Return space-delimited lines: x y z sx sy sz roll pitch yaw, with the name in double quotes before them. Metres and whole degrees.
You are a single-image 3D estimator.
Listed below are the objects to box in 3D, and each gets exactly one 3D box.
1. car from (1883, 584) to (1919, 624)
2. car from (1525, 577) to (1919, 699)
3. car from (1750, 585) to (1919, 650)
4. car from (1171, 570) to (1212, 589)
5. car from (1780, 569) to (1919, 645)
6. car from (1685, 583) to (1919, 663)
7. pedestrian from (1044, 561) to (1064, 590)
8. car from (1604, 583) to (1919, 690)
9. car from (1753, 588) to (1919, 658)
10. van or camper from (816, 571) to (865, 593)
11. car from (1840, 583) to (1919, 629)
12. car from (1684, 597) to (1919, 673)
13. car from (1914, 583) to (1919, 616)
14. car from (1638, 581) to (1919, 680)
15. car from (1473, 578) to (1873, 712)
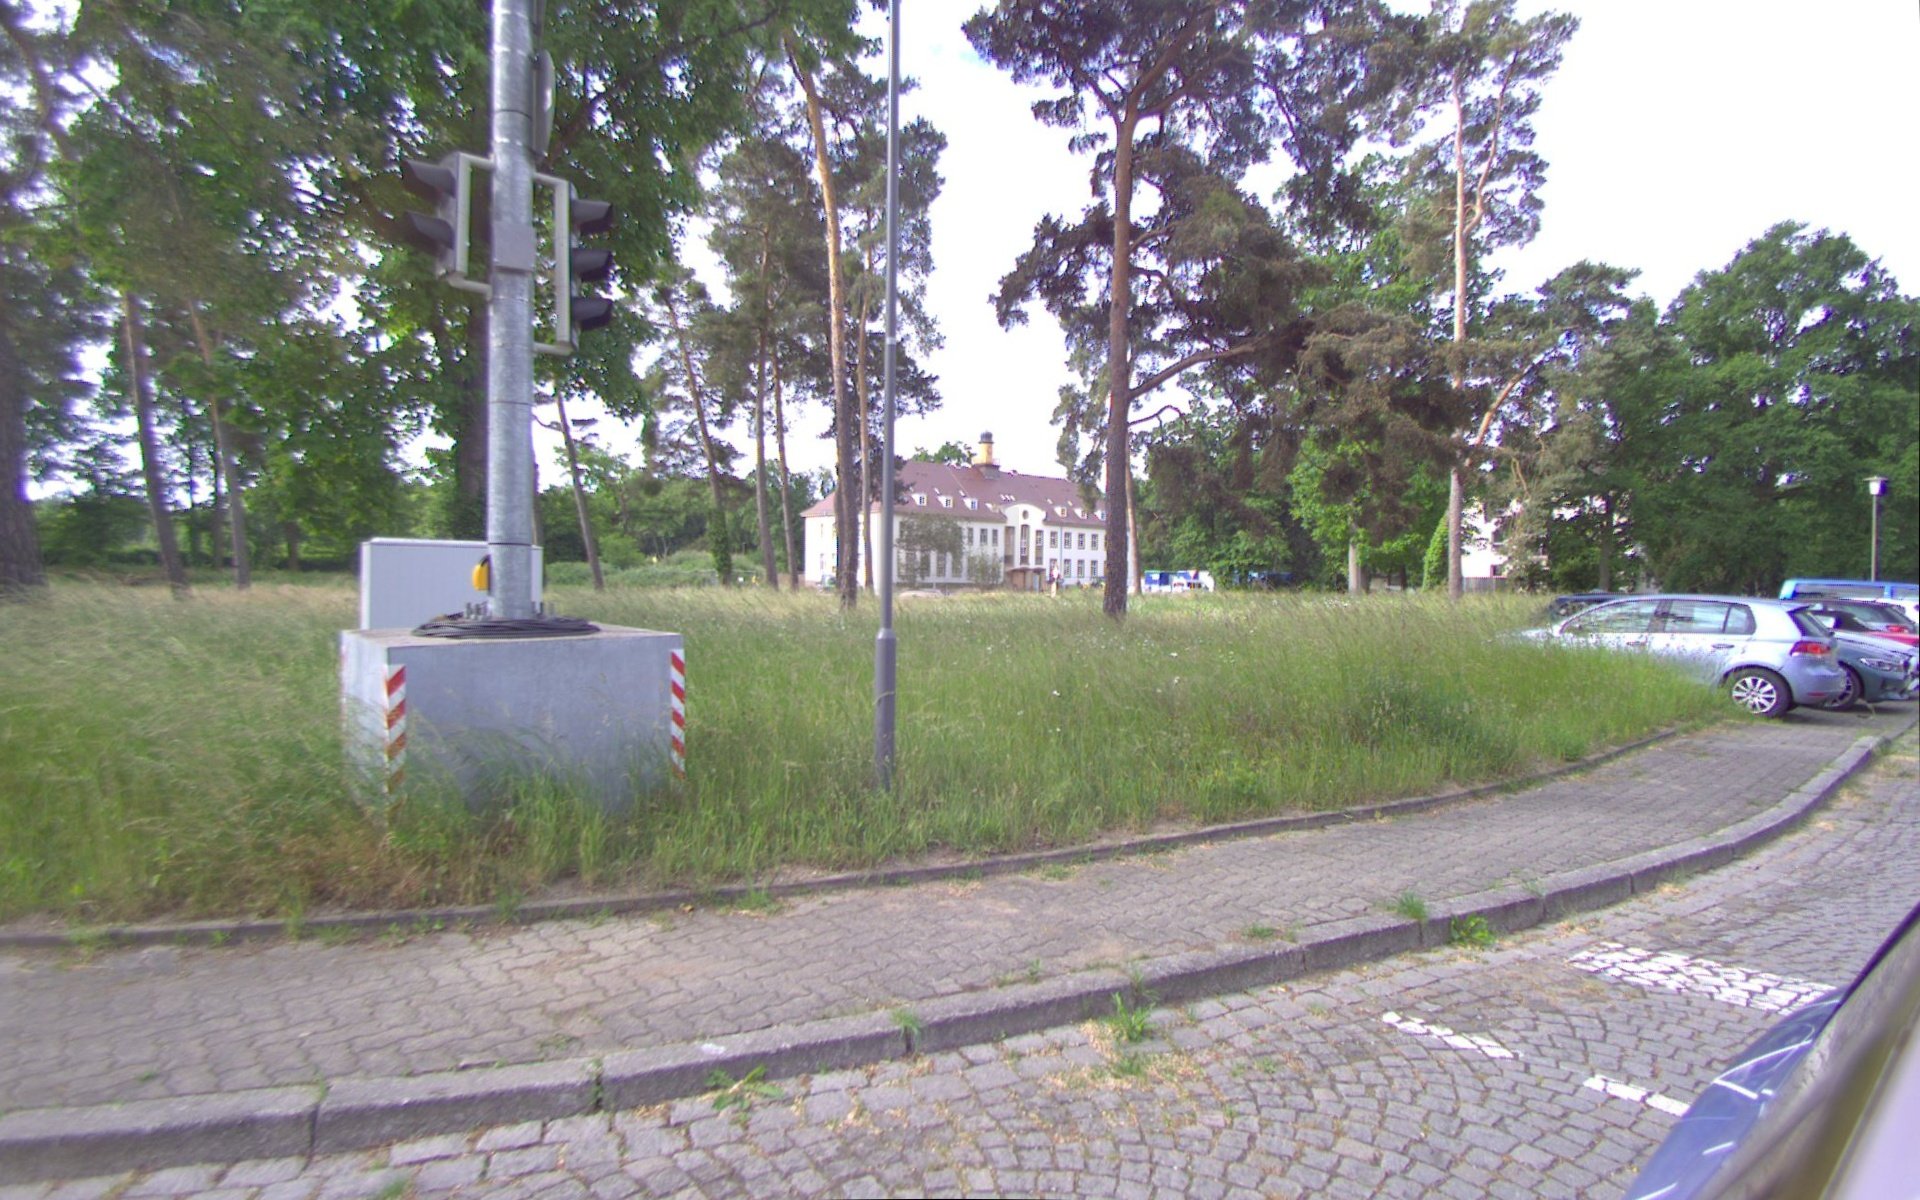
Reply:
"car" 40.652 0.193 41.504 1.967 1.589 3.990 0 2 -44
"car" 11.194 0.431 14.970 1.765 1.463 4.627 0 2 -41
"car" 22.674 0.406 25.625 1.765 1.467 3.931 0 2 -41
"car" 26.156 -2.329 114.315 4.754 2.038 2.163 -1 2 -43
"car" 26.663 0.173 28.795 1.963 2.038 4.843 0 2 -37
"car" 18.331 0.427 21.939 1.765 1.494 3.931 0 2 -40
"pedestrian" 7.326 -1.921 79.048 1.037 2.205 1.183 0 1 -41
"car" 13.301 0.500 16.621 1.764 1.463 4.267 0 2 -38
"car" 20.795 0.493 23.133 1.765 1.453 3.931 0 2 -41
"van or camper" -13.570 -2.019 114.493 2.424 2.335 6.114 0 2 -43
"car" 33.084 0.213 34.790 1.835 1.523 3.997 0 2 -39
"car" 16.794 0.619 19.836 1.765 1.250 3.931 0 2 -40
"car" 48.218 0.032 48.246 1.964 1.589 3.790 0 2 -40
"car" 14.851 0.455 18.312 1.764 1.531 3.933 0 2 -38
"car" 9.220 0.459 13.357 1.765 1.436 3.995 0 2 -40
